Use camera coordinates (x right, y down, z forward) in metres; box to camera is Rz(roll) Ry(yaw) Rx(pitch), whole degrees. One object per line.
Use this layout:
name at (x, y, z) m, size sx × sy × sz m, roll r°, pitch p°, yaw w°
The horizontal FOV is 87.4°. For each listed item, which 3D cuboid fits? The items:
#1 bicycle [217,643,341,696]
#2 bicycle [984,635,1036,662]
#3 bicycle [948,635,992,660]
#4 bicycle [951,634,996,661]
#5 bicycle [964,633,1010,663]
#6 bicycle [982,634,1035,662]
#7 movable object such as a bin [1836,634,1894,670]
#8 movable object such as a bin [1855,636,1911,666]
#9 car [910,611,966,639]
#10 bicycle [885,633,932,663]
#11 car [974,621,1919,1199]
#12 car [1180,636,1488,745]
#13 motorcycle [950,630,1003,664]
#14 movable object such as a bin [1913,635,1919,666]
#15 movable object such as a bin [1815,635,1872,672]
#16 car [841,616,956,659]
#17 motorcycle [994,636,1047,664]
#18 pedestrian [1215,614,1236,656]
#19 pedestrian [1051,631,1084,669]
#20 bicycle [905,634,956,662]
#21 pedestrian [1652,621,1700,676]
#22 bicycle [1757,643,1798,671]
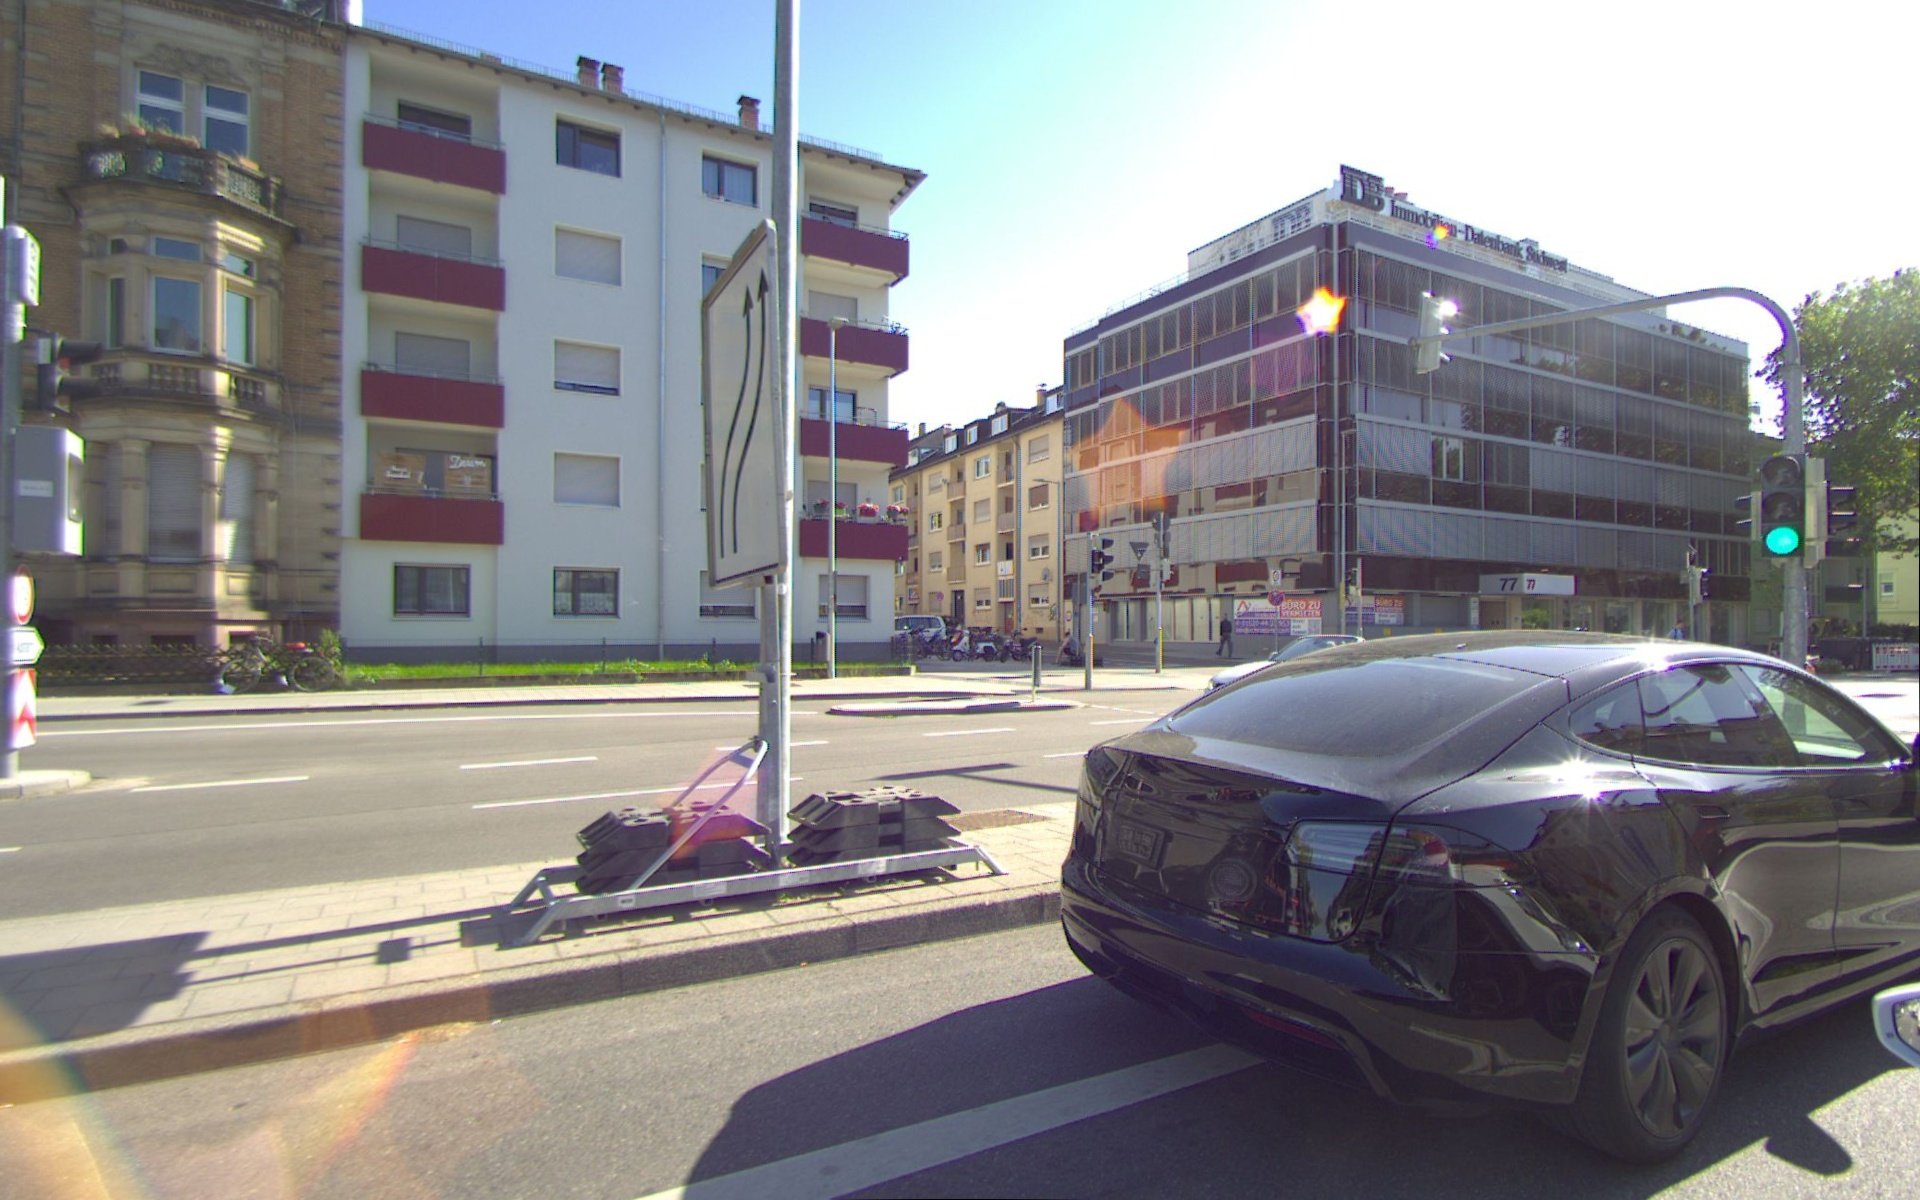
bicycle at (-12.954, 1.310, 19.166) m, size 1.916 × 0.971 × 0.303 m, roll 1°, pitch -1°, yaw -30°
bicycle at (1.850, 1.796, 37.164) m, size 1.922 × 0.960 × 0.476 m, roll 1°, pitch -1°, yaw -21°
bicycle at (0.401, 1.847, 39.571) m, size 1.702 × 0.960 × 0.456 m, roll 1°, pitch -1°, yaw -28°
bicycle at (0.516, 1.812, 38.682) m, size 1.713 × 1.017 × 0.507 m, roll 1°, pitch -1°, yaw -25°
bicycle at (1.030, 1.787, 37.747) m, size 1.714 × 1.083 × 0.487 m, roll 1°, pitch -1°, yaw -28°
bicycle at (1.770, 1.722, 36.472) m, size 1.852 × 0.991 × 0.507 m, roll 0°, pitch -1°, yaw -13°
movable object such as a bin at (36.997, 2.103, 41.076) m, size 1.832 × 1.407 × 1.210 m, roll 1°, pitch -1°, yaw -28°
movable object such as a bin at (38.502, 2.107, 41.904) m, size 1.225 × 1.219 × 1.389 m, roll 1°, pitch -1°, yaw -26°
car at (-1.335, 1.488, 60.281) m, size 1.973 × 1.623 × 3.976 m, roll 1°, pitch -1°, yaw -25°
bicycle at (-1.936, 1.780, 37.468) m, size 1.667 × 1.072 × 0.572 m, roll 1°, pitch -1°, yaw -25°
car at (2.496, 0.836, 4.163) m, size 4.572 × 1.430 × 1.916 m, roll 2°, pitch -2°, yaw -31°
car at (5.583, 1.250, 14.964) m, size 4.259 × 1.363 × 1.925 m, roll 0°, pitch -1°, yaw -26°
motorcycle at (0.585, 1.620, 35.150) m, size 1.756 × 1.157 × 0.610 m, roll 1°, pitch -1°, yaw -21°
movable object such as a bin at (43.157, 2.227, 44.239) m, size 1.142 × 1.355 × 1.405 m, roll 1°, pitch -1°, yaw -27°
movable object such as a bin at (35.046, 2.102, 39.835) m, size 1.832 × 1.407 × 1.110 m, roll 1°, pitch -1°, yaw -28°
car at (-2.564, 1.541, 42.044) m, size 4.416 × 1.754 × 1.989 m, roll 1°, pitch -1°, yaw -24°
motorcycle at (2.099, 1.732, 34.773) m, size 1.815 × 0.948 × 0.502 m, roll 1°, pitch -1°, yaw -23°
pedestrian at (10.759, 1.408, 40.663) m, size 0.688 × 1.680 × 0.745 m, roll -1°, pitch -1°, yaw 26°
pedestrian at (3.450, 1.598, 32.198) m, size 0.783 × 1.168 × 0.711 m, roll 1°, pitch -1°, yaw -42°
bicycle at (-1.051, 1.700, 35.826) m, size 1.713 × 0.982 × 0.572 m, roll 1°, pitch -1°, yaw -25°
pedestrian at (22.984, 1.553, 32.253) m, size 0.997 × 1.733 × 0.863 m, roll 0°, pitch -1°, yaw -22°
bicycle at (32.284, 2.255, 39.663) m, size 1.856 × 1.051 × 0.624 m, roll 1°, pitch -1°, yaw -29°
